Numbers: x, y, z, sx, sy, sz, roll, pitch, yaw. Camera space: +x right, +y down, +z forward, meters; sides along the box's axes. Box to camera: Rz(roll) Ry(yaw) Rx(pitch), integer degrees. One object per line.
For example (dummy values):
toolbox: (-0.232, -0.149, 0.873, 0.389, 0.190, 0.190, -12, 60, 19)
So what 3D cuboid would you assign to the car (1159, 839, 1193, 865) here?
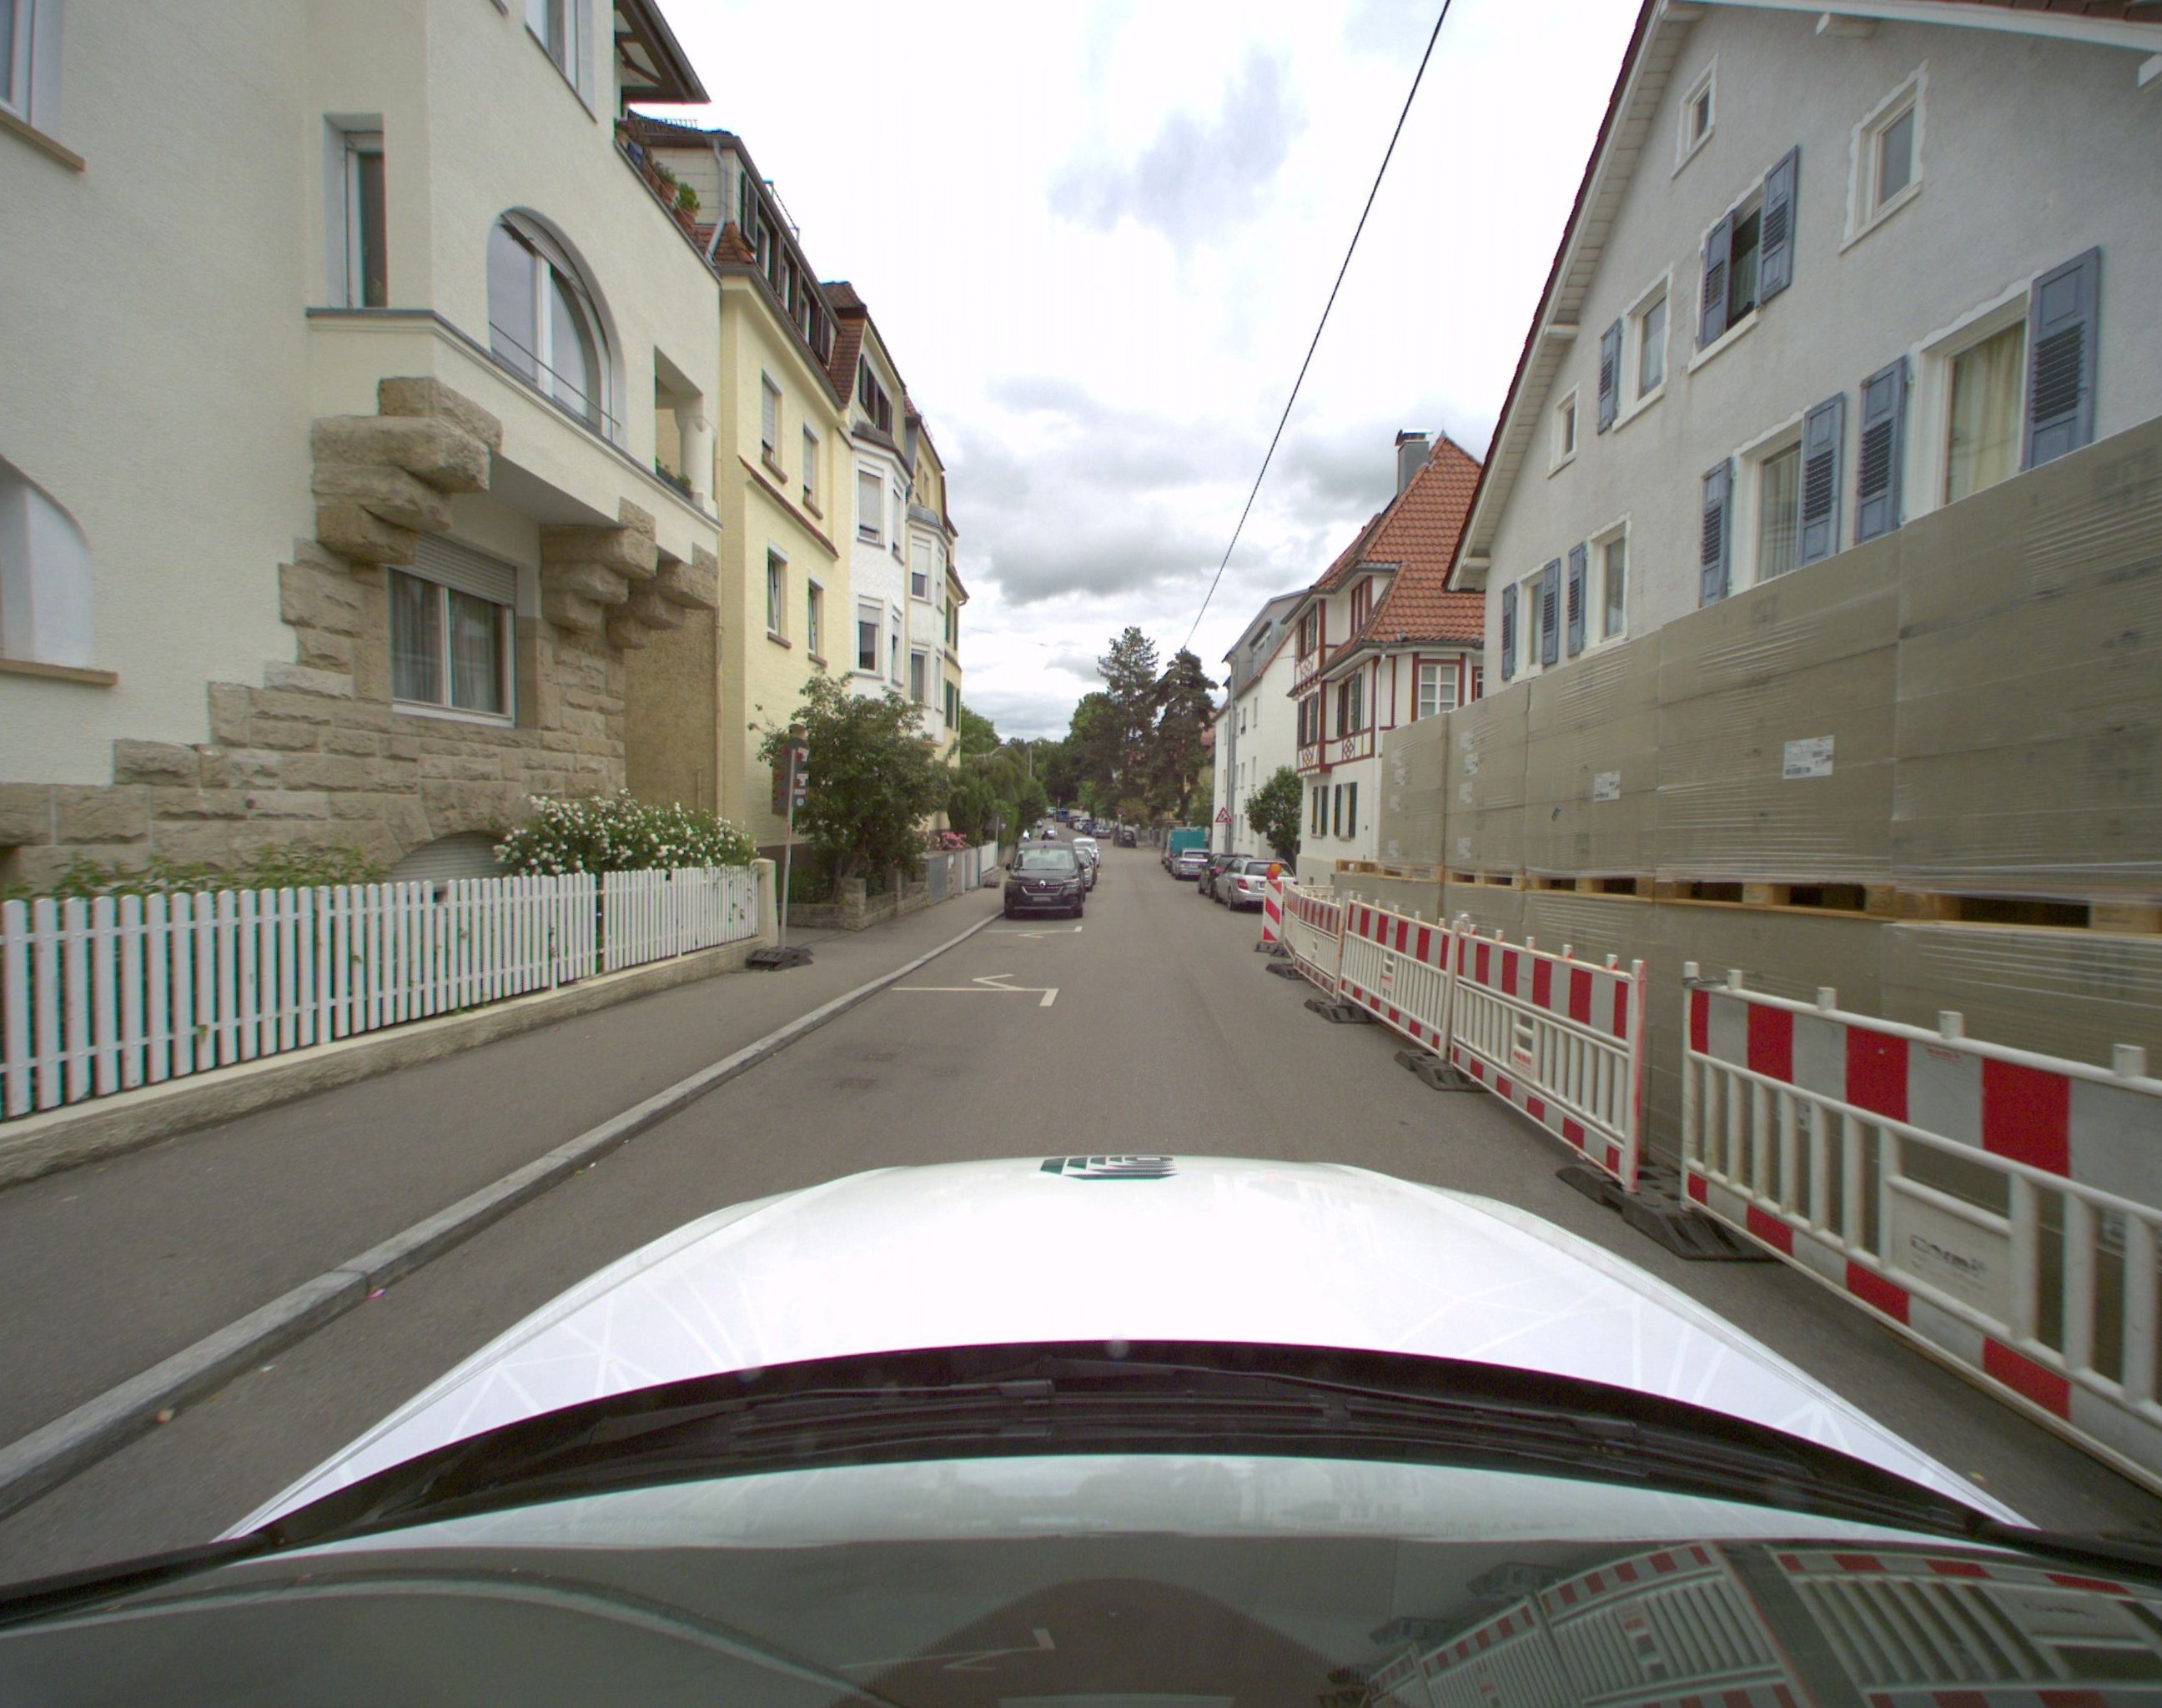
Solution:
car: (5.941, -0.149, 51.038, 1.719, 1.448, 3.882, 1, 2, 1)

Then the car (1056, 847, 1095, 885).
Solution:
car: (-0.184, 0.470, 34.802, 1.590, 1.478, 3.992, 0, 1, 1)

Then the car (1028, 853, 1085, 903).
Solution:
car: (-0.698, 0.680, 25.270, 1.637, 1.387, 3.859, 0, 1, 0)

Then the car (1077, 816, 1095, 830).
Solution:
car: (0.571, -3.742, 97.785, 1.633, 1.536, 3.523, 2, 4, -7)

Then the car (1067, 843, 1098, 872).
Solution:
car: (0.118, 0.167, 44.522, 1.590, 1.412, 3.664, 0, 2, 1)

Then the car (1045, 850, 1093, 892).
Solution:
car: (-0.392, 0.581, 30.028, 1.636, 1.416, 3.985, 0, 1, 1)

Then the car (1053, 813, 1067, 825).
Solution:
car: (-3.045, -5.142, 117.946, 1.633, 1.536, 3.523, 2, 4, -7)

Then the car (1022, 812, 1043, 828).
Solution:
car: (-6.169, -4.322, 103.148, 1.905, 1.876, 4.578, -1, 4, -12)

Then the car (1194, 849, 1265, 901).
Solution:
car: (4.890, 0.635, 27.325, 1.683, 1.519, 3.881, 2, 1, 1)

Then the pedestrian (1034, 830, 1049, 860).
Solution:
pedestrian: (-2.573, -0.596, 52.653, 0.787, 1.932, 0.920, 2, 1, 4)

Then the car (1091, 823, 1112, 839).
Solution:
car: (2.164, -2.486, 87.034, 1.633, 1.483, 3.523, 2, 4, -7)

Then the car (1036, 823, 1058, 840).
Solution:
car: (-3.551, -2.362, 84.389, 1.673, 1.656, 3.850, -1, 4, -11)

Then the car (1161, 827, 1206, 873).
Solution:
car: (5.580, -0.275, 44.779, 1.973, 2.362, 4.278, 1, 2, 1)

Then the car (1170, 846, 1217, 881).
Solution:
car: (5.248, 0.409, 38.367, 1.719, 1.448, 3.882, 1, 2, 1)

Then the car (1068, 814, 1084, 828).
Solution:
car: (-0.664, -4.189, 103.512, 1.633, 1.536, 3.523, 2, 4, -7)

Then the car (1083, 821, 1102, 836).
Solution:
car: (1.242, -2.918, 91.570, 1.633, 1.483, 3.523, 2, 4, -7)

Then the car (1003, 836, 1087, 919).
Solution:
car: (-0.816, 0.508, 19.996, 1.839, 1.815, 4.542, 0, 0, -1)

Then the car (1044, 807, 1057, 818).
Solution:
car: (-4.852, -6.577, 128.226, 1.633, 1.536, 3.523, 2, 4, -7)

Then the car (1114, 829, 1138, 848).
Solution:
car: (4.136, -1.481, 75.119, 1.632, 1.483, 3.525, 2, 4, -6)

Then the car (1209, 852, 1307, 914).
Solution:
car: (4.810, 0.723, 22.792, 1.812, 1.441, 4.452, 2, 1, 1)

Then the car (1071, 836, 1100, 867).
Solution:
car: (0.276, -0.192, 48.724, 1.666, 1.656, 3.865, 0, 4, 1)

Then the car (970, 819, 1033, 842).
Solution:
car: (-6.341, -1.866, 65.326, 1.975, 1.639, 4.841, 3, 2, 44)
